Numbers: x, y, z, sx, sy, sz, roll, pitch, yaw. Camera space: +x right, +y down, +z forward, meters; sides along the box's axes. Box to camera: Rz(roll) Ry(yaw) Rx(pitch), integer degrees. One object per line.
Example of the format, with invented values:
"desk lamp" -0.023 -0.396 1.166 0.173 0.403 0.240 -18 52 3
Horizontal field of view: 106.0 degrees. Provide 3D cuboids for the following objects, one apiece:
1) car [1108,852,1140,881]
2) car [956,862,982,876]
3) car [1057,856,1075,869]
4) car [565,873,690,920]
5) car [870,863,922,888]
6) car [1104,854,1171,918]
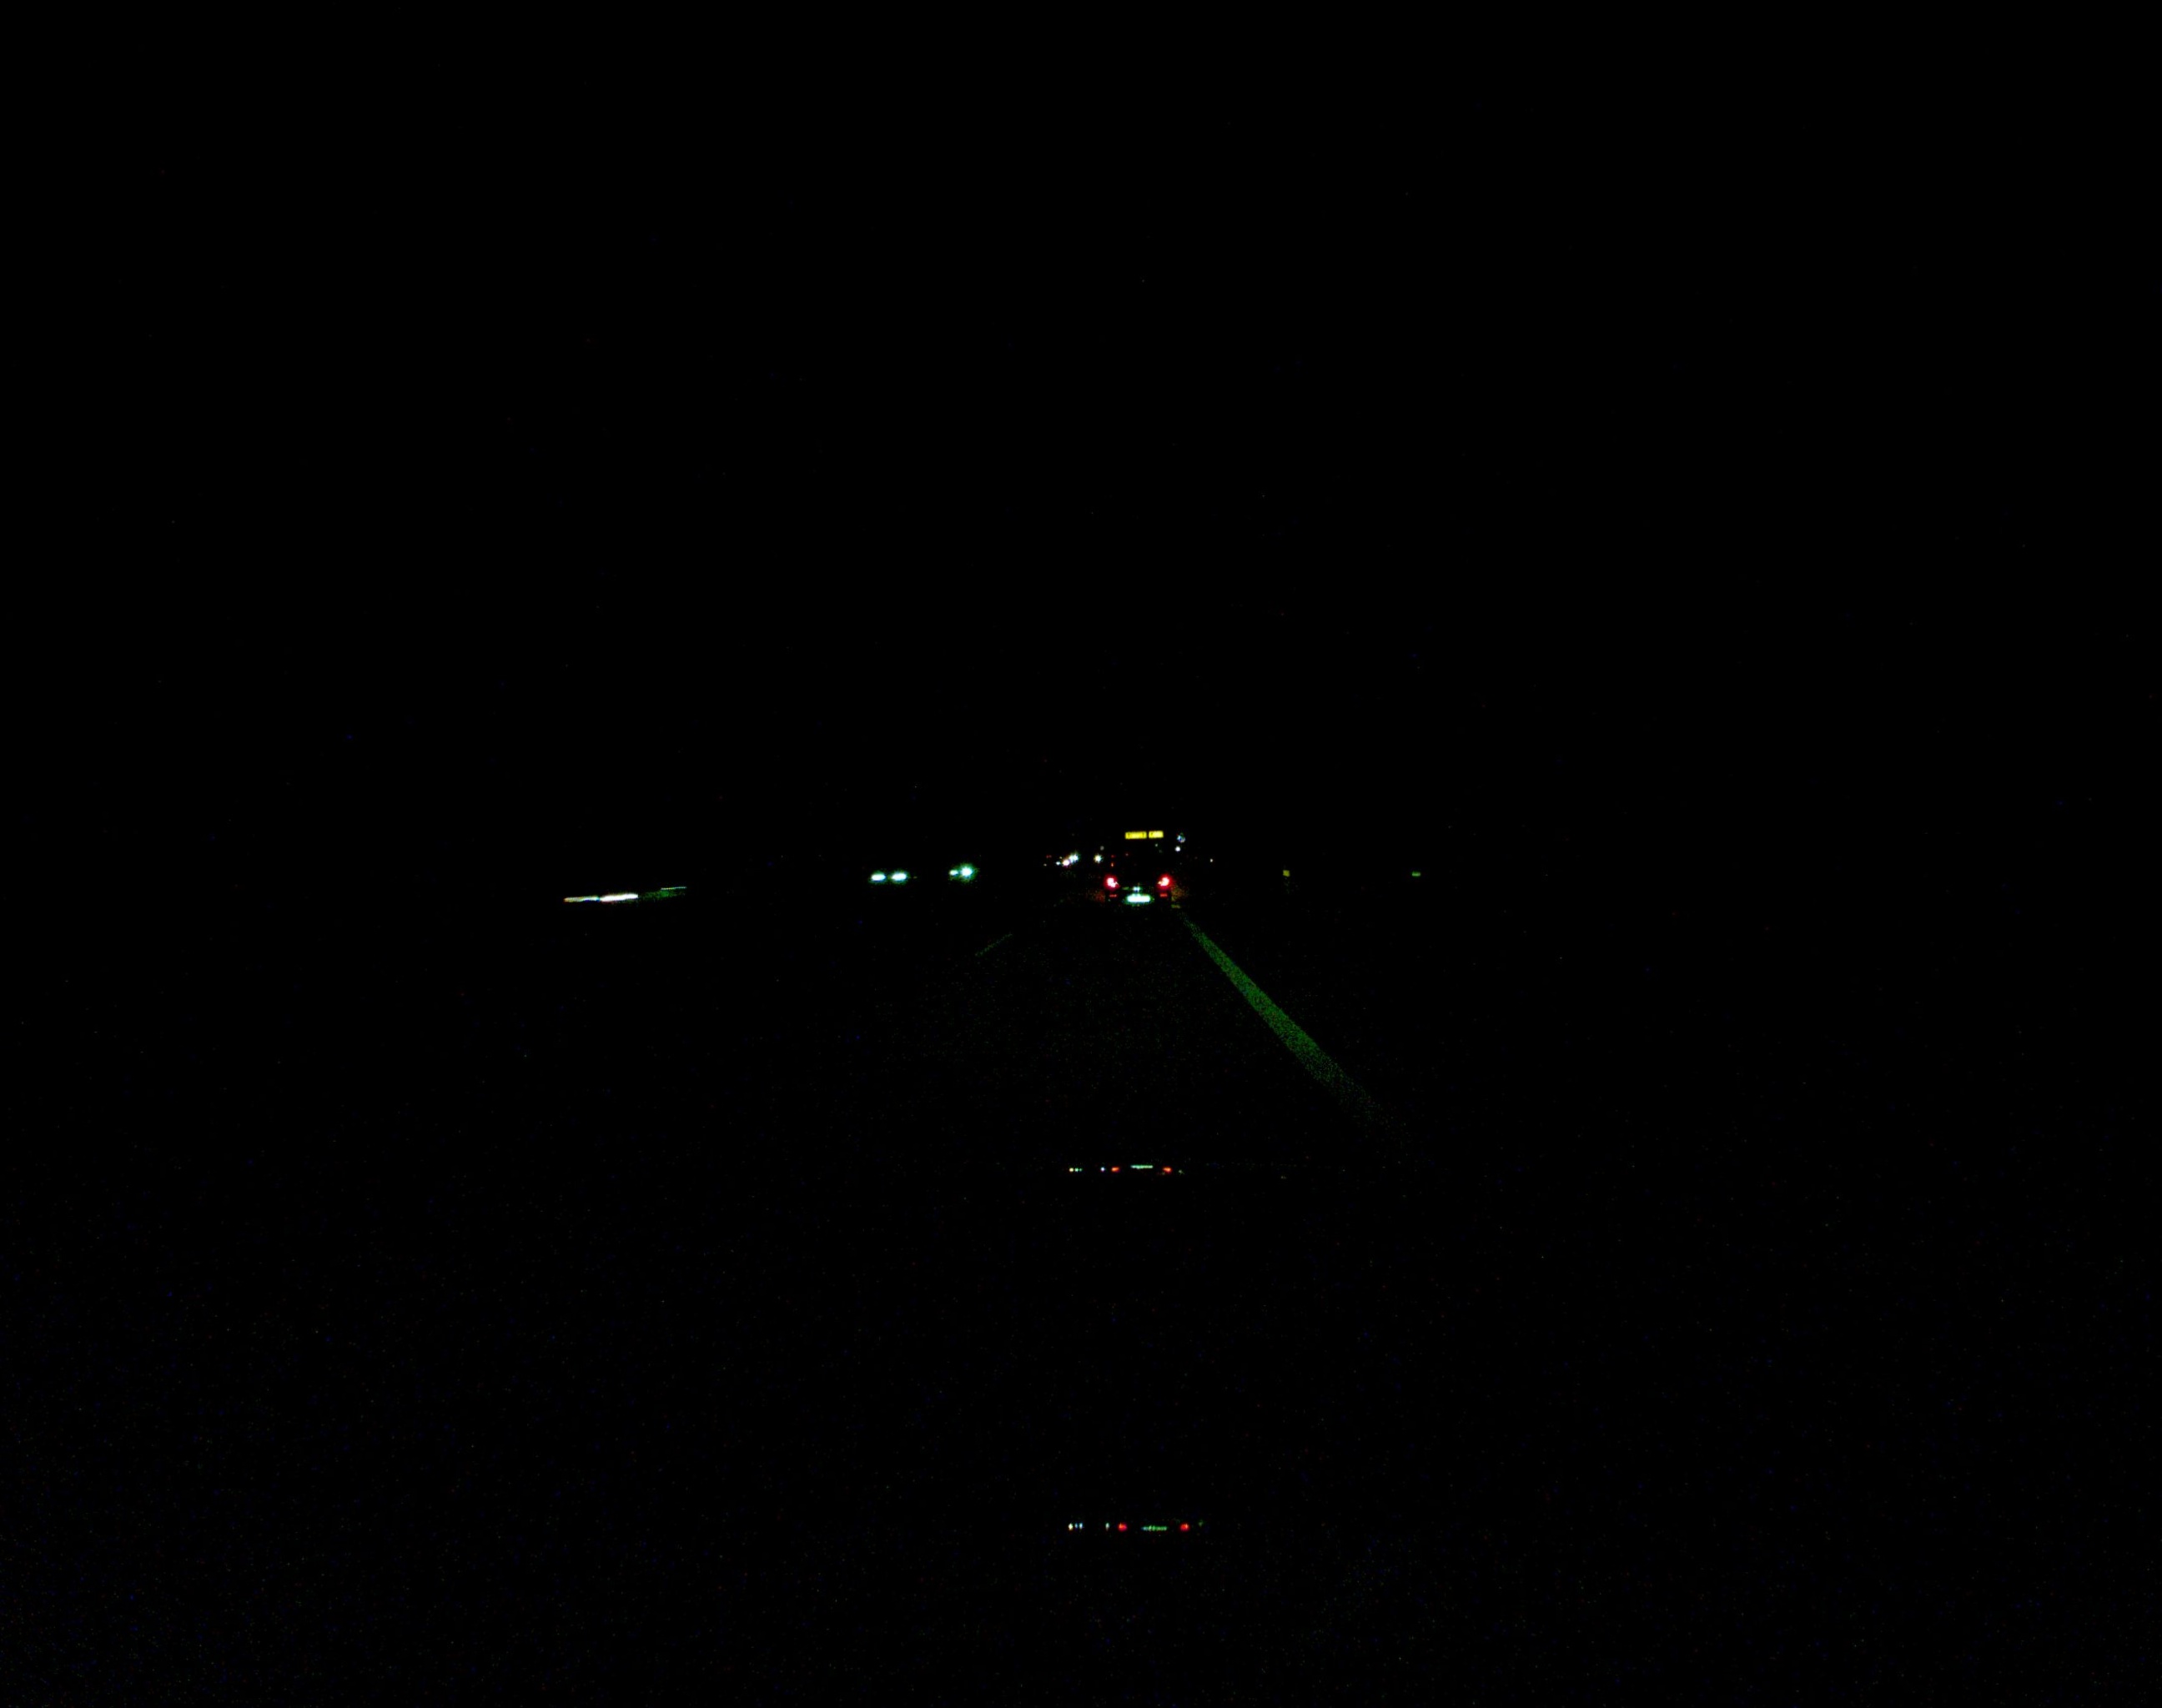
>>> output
"car" 2.702 0.740 51.266 1.898 1.698 4.003 -1 0 3
"car" -11.906 1.583 86.575 1.763 1.411 4.849 -1 -1 4
"car" -2.280 1.223 122.051 1.948 1.733 5.088 -3 0 6
"car" -16.888 1.531 30.598 1.948 1.457 4.177 -3 0 6
"car" -12.379 1.418 54.786 1.948 1.457 4.479 -3 0 6
"car" 1.460 0.769 21.331 1.581 1.508 4.004 0 0 3
